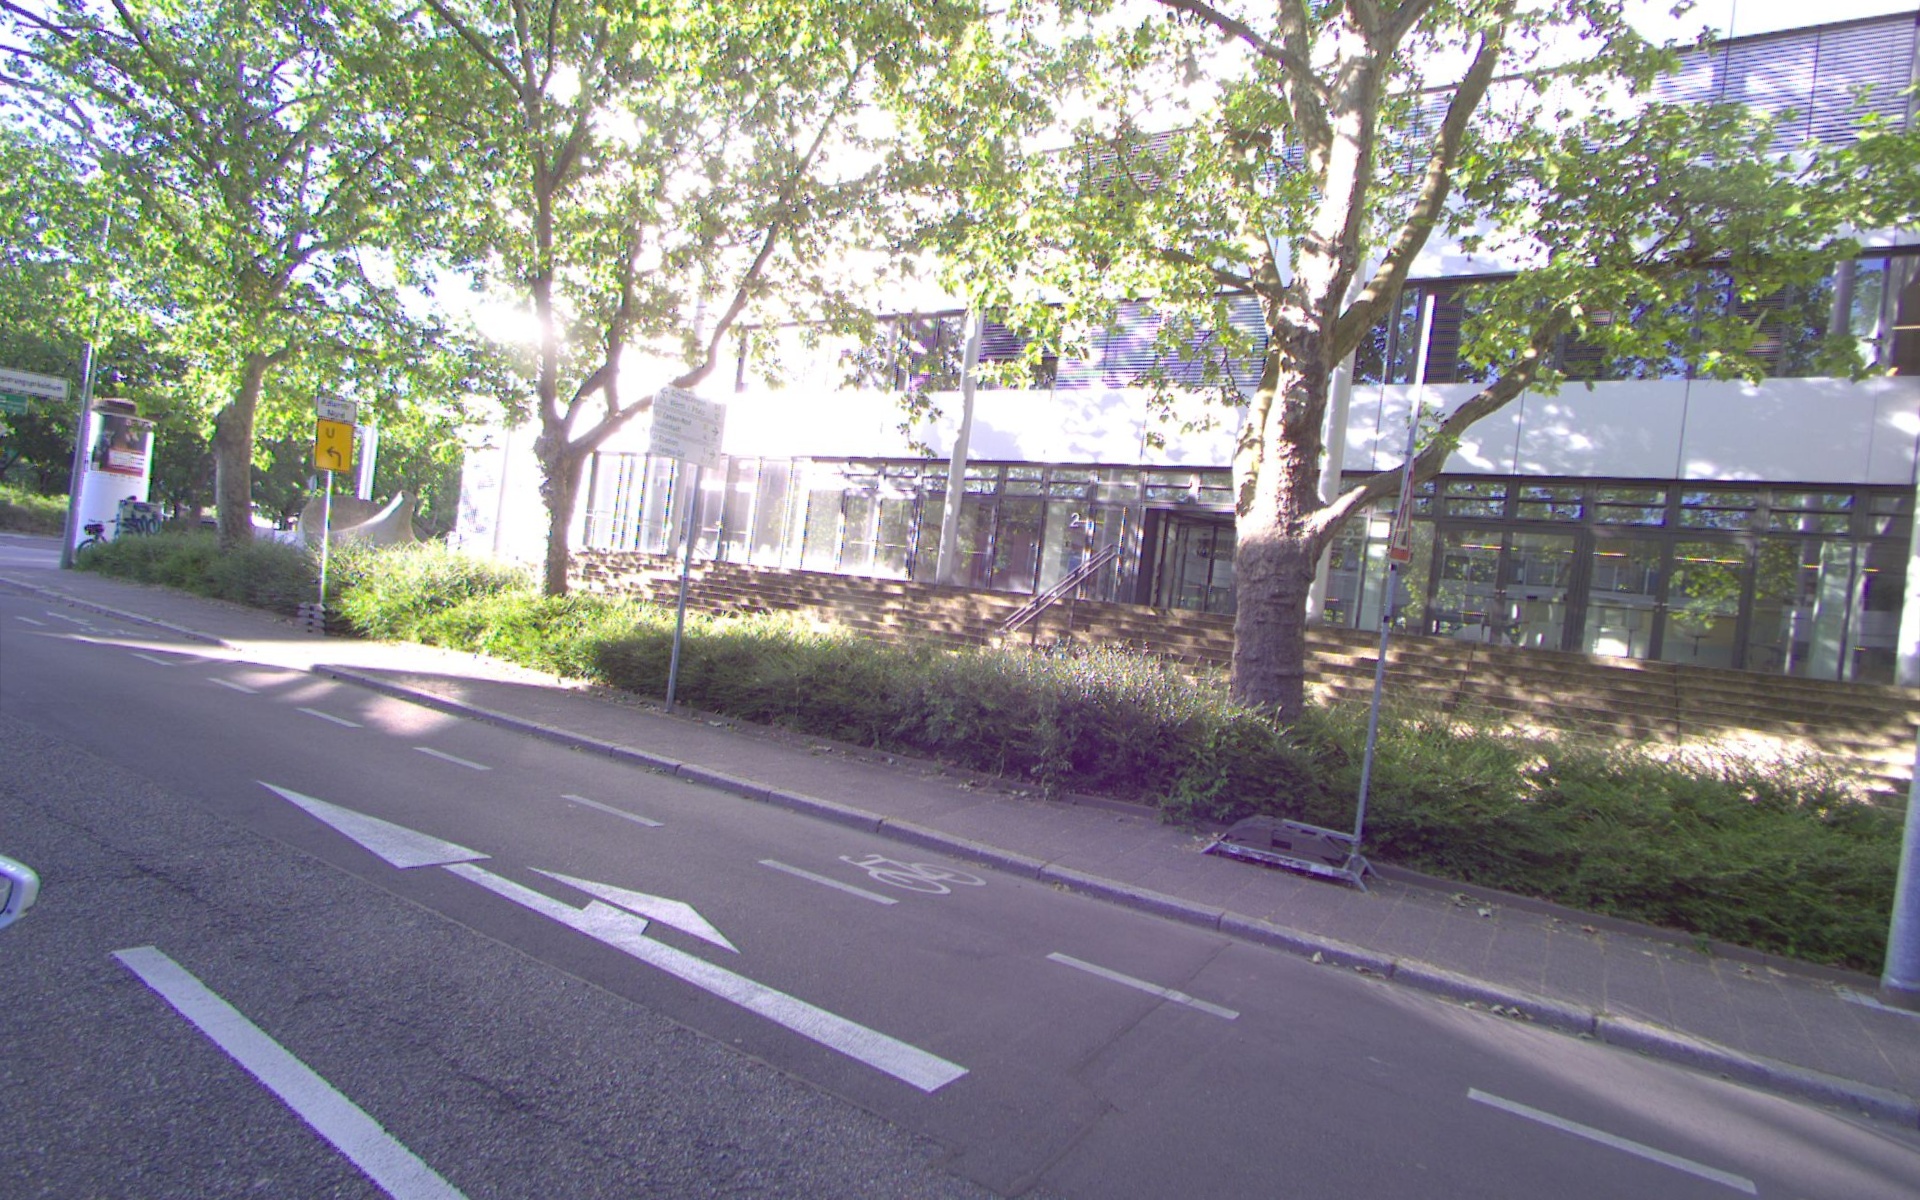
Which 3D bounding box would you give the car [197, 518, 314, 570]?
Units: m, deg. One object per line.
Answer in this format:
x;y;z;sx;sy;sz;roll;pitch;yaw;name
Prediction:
-32.699;-2.564;46.819;1.708;1.792;3.996;7;-1;30;car

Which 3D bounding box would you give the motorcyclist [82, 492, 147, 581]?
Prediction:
-19.350;-1.449;23.031;0.662;1.885;0.823;6;-1;37;motorcyclist

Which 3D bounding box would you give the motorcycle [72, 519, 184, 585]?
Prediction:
-19.223;-1.095;23.279;0.712;1.257;1.782;6;-2;37;motorcycle
